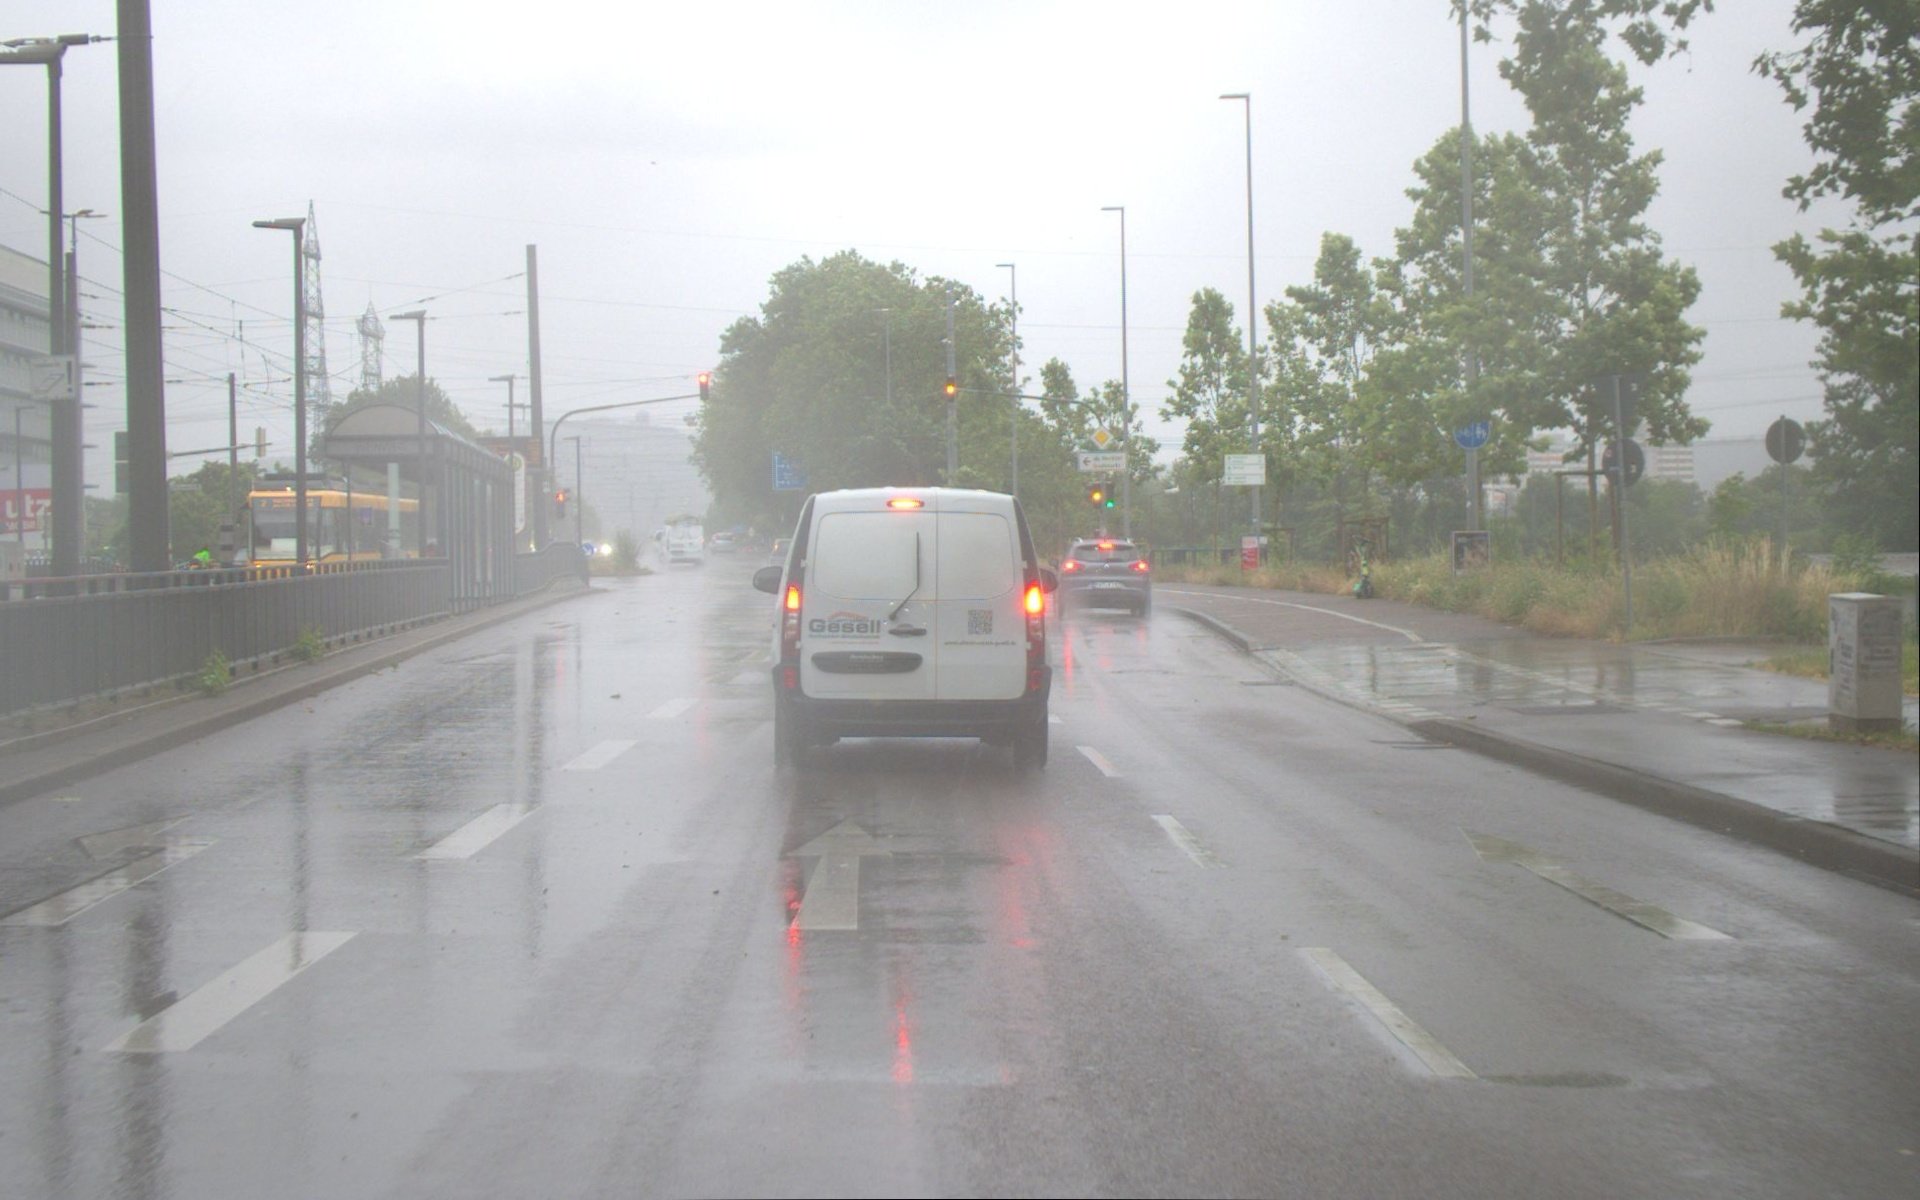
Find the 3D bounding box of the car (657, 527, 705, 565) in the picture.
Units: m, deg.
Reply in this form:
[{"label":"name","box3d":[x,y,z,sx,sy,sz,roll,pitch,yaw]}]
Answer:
[{"label":"car","box3d":[-13.046,-2.521,160.722,1.993,1.744,4.001,1,1,-8]}]

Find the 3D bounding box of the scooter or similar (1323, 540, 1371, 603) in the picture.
[{"label":"scooter or similar","box3d":[7.481,-0.556,66.489,0.642,1.191,1.563,-1,1,-4]}]

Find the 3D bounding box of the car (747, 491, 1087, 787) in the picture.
[{"label":"car","box3d":[-0.392,0.207,23.036,2.024,1.769,4.275,1,1,-4]}]

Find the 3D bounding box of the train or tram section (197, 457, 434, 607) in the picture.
[{"label":"train or tram section","box3d":[-19.662,-2.052,107.338,3.770,4.022,27.097,1,1,-3]}]

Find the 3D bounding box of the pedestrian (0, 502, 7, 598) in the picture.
[{"label":"pedestrian","box3d":[-20.647,-1.057,71.985,1.088,2.007,1.096,1,1,-2]}]

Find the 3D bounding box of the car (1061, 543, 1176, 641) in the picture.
[{"label":"car","box3d":[2.947,-0.177,64.536,1.993,1.744,4.000,1,1,1]}]
